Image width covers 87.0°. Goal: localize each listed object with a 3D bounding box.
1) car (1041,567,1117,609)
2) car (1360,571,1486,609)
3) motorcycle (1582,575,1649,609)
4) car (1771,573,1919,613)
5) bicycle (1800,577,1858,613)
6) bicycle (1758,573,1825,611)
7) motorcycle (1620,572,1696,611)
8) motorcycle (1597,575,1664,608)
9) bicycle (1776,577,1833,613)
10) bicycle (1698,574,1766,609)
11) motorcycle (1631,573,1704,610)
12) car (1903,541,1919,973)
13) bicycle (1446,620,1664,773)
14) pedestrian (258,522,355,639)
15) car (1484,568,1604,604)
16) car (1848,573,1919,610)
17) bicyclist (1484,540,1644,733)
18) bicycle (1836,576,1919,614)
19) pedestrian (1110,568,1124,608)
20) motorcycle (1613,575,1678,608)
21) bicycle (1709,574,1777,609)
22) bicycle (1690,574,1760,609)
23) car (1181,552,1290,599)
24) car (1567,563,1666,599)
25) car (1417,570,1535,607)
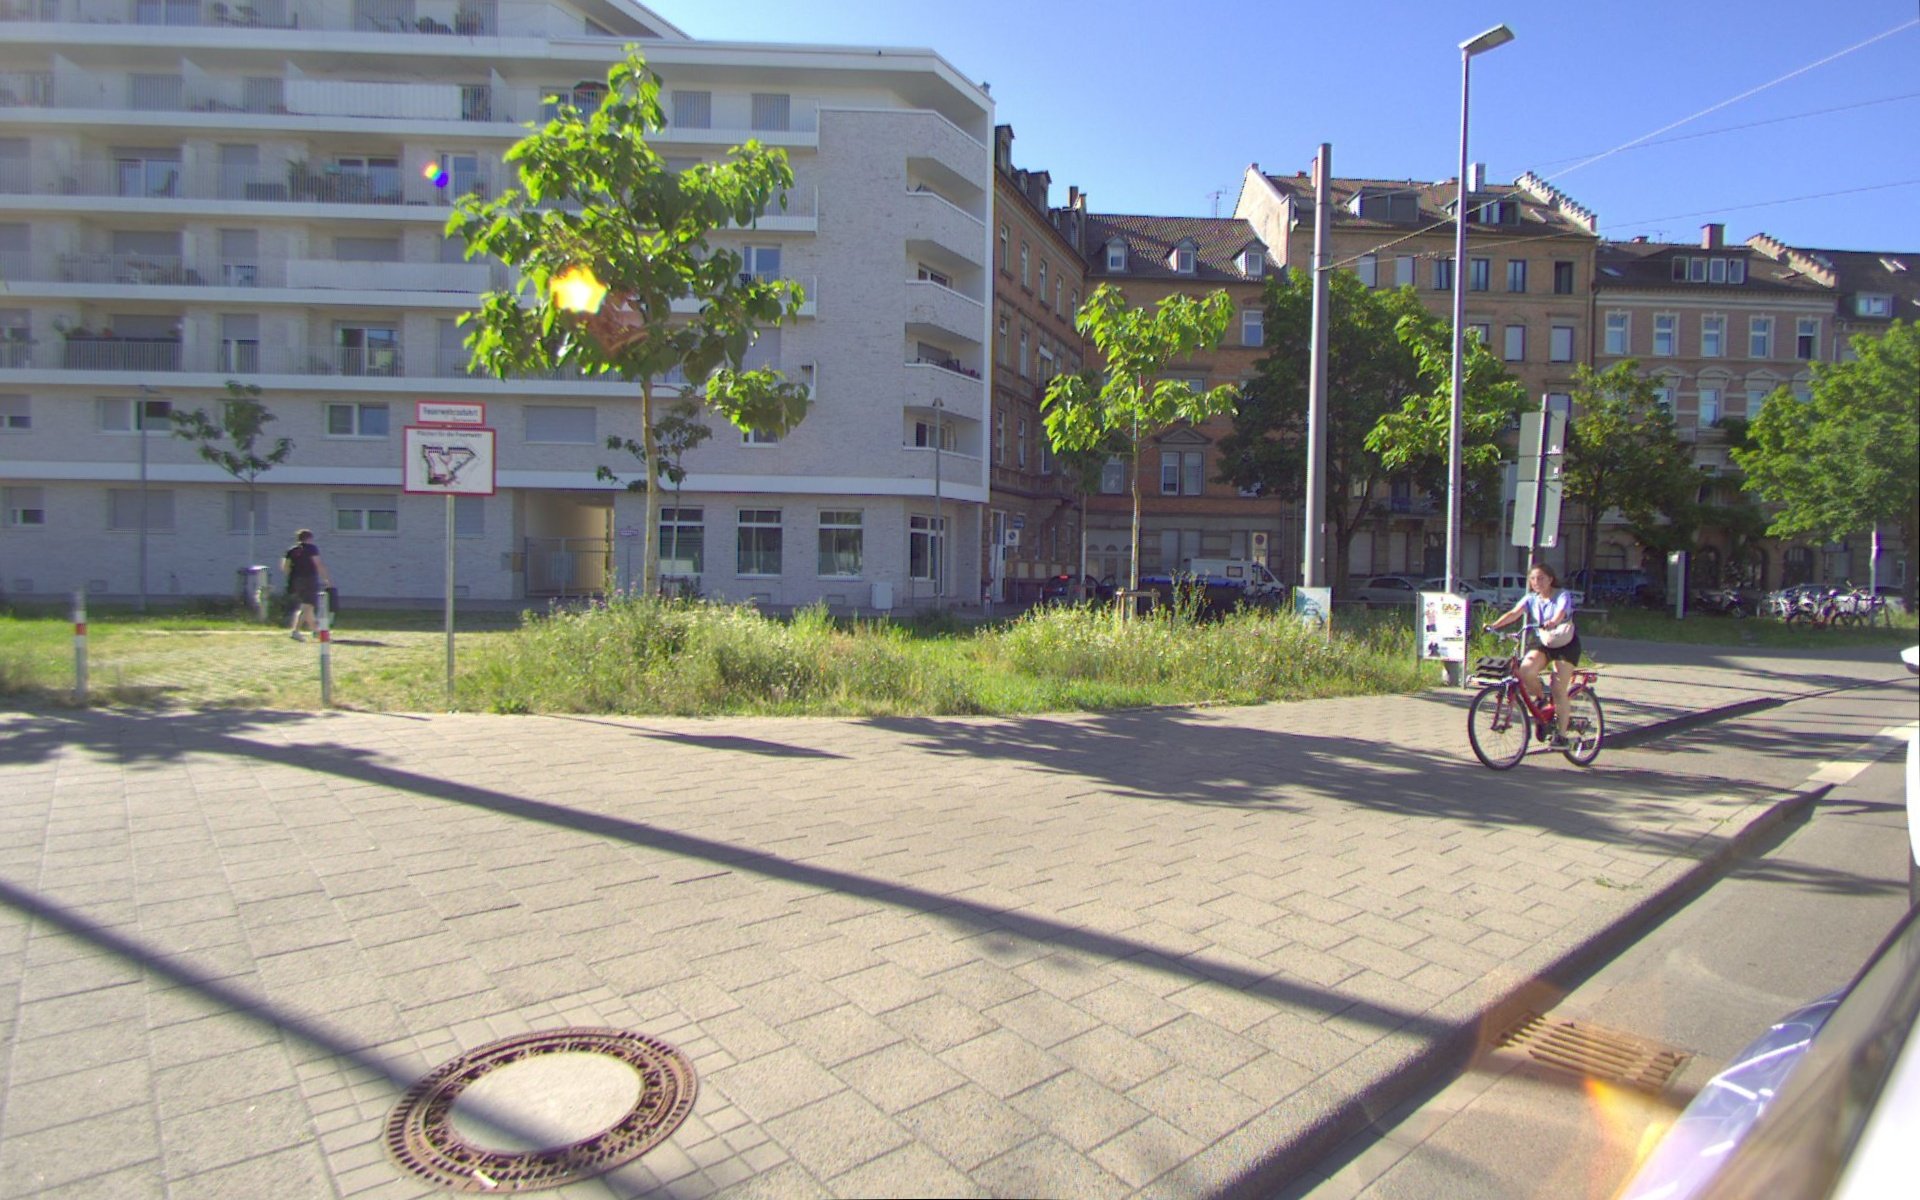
[{"bbox_3d":[4.566,-0.505,38.304,1.811,1.444,4.359,1,2,21],"label":"car"},{"bbox_3d":[17.349,-0.422,38.114,1.648,1.267,4.170,0,3,-28],"label":"car"},{"bbox_3d":[26.026,-0.329,40.232,0.649,1.293,2.324,0,0,-18],"label":"motorcycle"},{"bbox_3d":[34.685,-0.322,39.599,1.651,1.423,4.324,-1,3,-38],"label":"car"},{"bbox_3d":[32.035,-0.195,37.341,0.653,1.284,2.196,0,0,12],"label":"bicycle"},{"bbox_3d":[29.274,-0.294,35.680,0.651,1.284,2.202,0,0,4],"label":"bicycle"},{"bbox_3d":[25.338,-0.307,36.786,0.650,1.347,2.207,0,0,-28],"label":"motorcycle"},{"bbox_3d":[26.697,-0.337,40.364,0.649,1.300,2.324,0,0,-18],"label":"motorcycle"},{"bbox_3d":[30.940,-0.187,37.117,0.653,1.284,2.196,0,0,12],"label":"bicycle"},{"bbox_3d":[29.080,-0.321,38.159,0.649,1.284,2.208,0,0,-9],"label":"bicycle"},{"bbox_3d":[26.154,-0.322,37.475,0.649,1.339,2.208,0,0,-23],"label":"motorcycle"},{"bbox_3d":[5.870,0.605,4.722,4.323,1.667,1.840,0,0,-43],"label":"car"},{"bbox_3d":[4.769,0.721,8.086,1.783,1.086,0.670,1,0,-29],"label":"bicycle"},{"bbox_3d":[-10.070,-0.309,15.633,0.829,1.717,0.985,2,2,2],"label":"pedestrian"},{"bbox_3d":[22.328,-0.579,38.780,1.513,1.267,3.700,-1,3,-39],"label":"car"},{"bbox_3d":[37.822,-0.331,39.969,1.649,1.423,3.832,-1,3,-32],"label":"car"},{"bbox_3d":[4.835,0.269,8.110,0.921,1.454,0.670,1,1,-27],"label":"bicyclist"},{"bbox_3d":[31.629,-0.168,34.770,2.180,1.284,0.657,0,0,25],"label":"bicycle"},{"bbox_3d":[5.884,-0.437,37.908,0.500,1.474,0.480,0,0,11],"label":"pedestrian"},{"bbox_3d":[27.487,-0.336,40.618,0.649,1.284,2.209,0,0,-18],"label":"motorcycle"},{"bbox_3d":[29.723,-0.327,38.470,0.649,1.284,2.208,0,0,-9],"label":"bicycle"},{"bbox_3d":[28.369,-0.312,37.571,0.649,1.284,2.208,0,0,-11],"label":"bicycle"},{"bbox_3d":[12.660,-1.154,46.789,4.416,2.062,2.054,1,2,0],"label":"car"},{"bbox_3d":[30.875,-0.921,47.657,3.631,1.607,1.552,1,2,0],"label":"car"},{"bbox_3d":[19.672,-0.468,38.724,1.648,1.267,3.709,0,3,-28],"label":"car"}]
